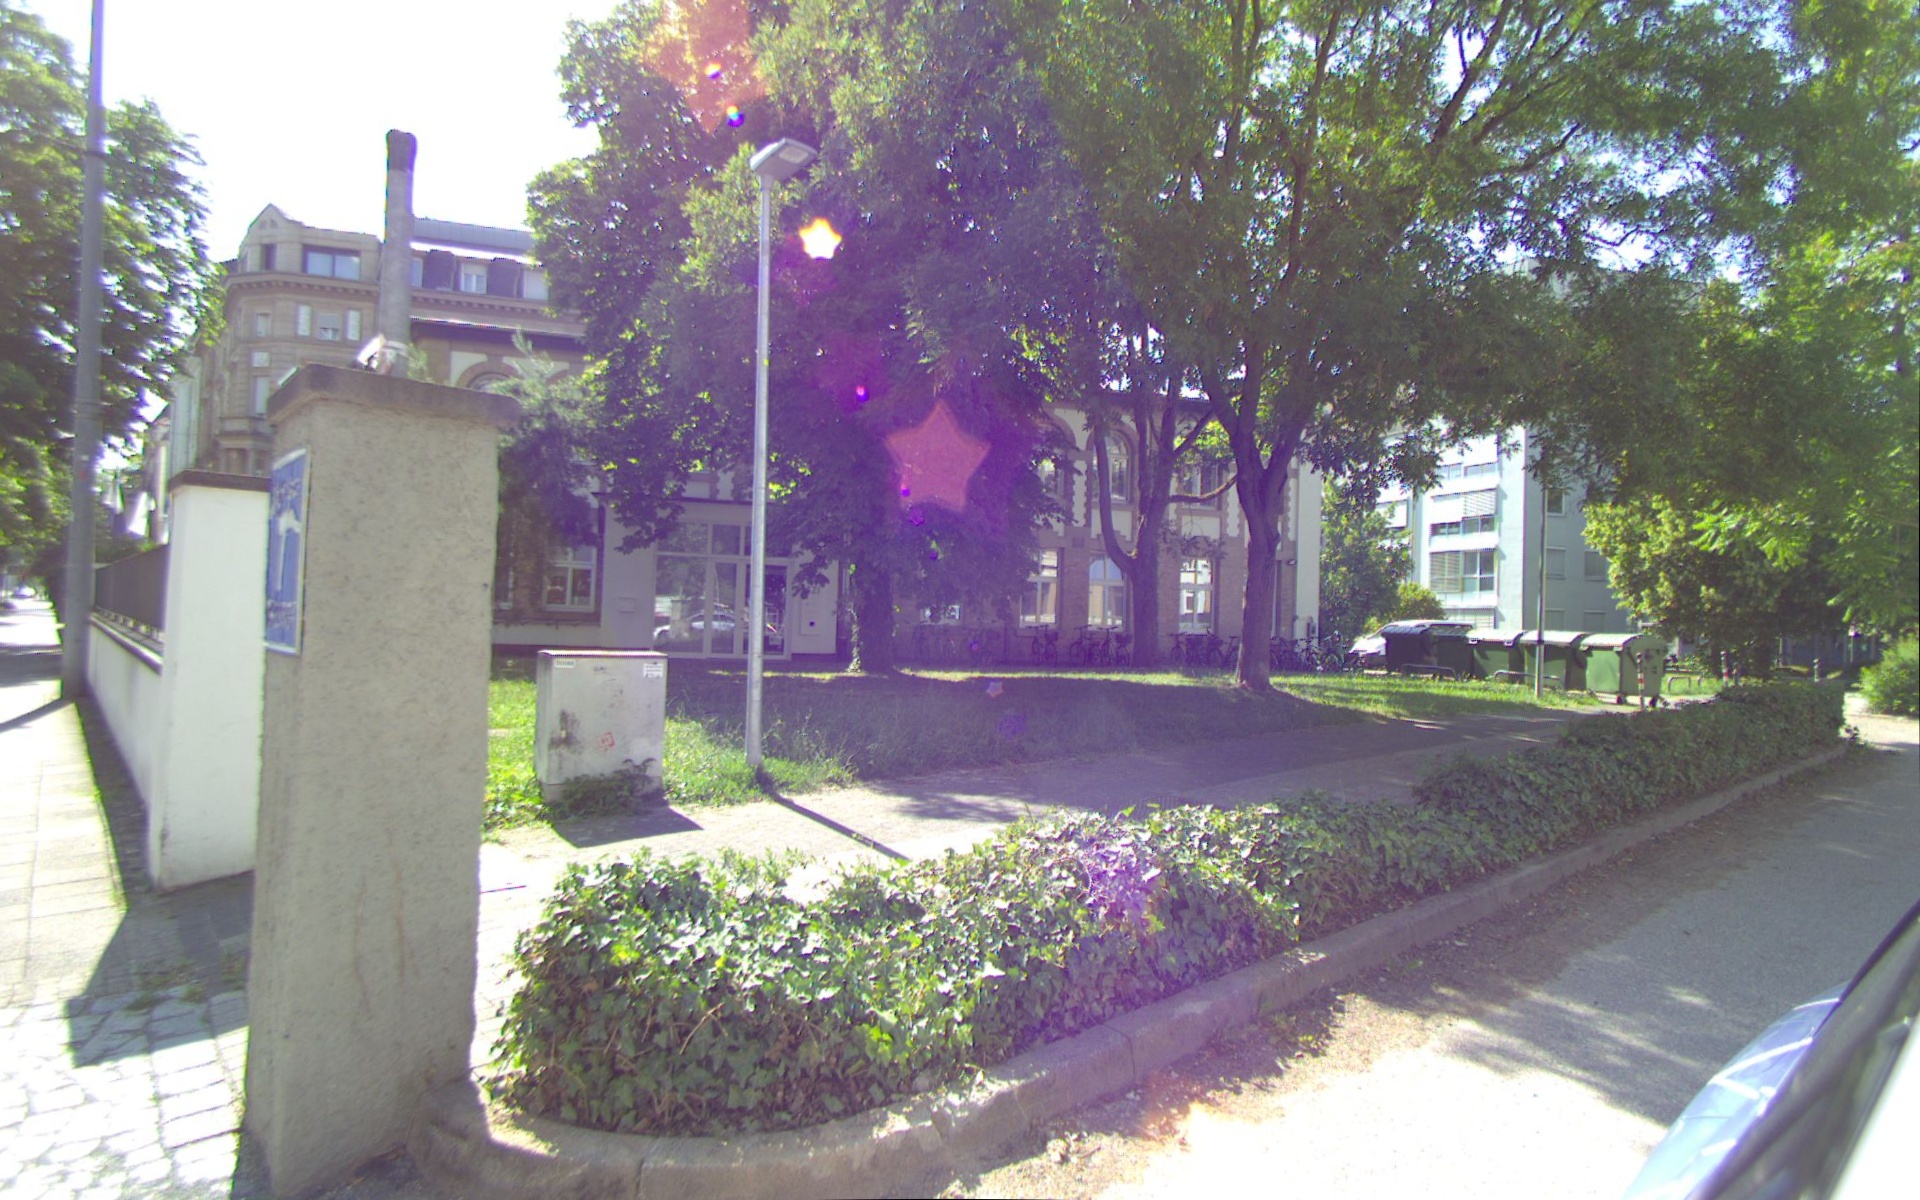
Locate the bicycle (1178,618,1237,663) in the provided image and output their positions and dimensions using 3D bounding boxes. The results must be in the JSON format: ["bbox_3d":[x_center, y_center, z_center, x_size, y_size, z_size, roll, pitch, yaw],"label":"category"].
[{"bbox_3d":[6.852,1.098,28.072,0.575,1.176,2.107,2,-1,-17],"label":"bicycle"}]

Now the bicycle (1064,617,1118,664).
[{"bbox_3d":[3.482,1.071,27.104,0.575,1.176,2.107,2,-1,-17],"label":"bicycle"}]

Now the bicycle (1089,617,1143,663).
[{"bbox_3d":[4.199,1.055,27.359,0.575,1.176,2.107,2,-1,-17],"label":"bicycle"}]

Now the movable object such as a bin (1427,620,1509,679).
[{"bbox_3d":[12.574,1.214,25.066,1.190,1.366,1.355,2,-1,-20],"label":"movable object such as a bin"}]

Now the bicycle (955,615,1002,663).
[{"bbox_3d":[0.459,0.983,26.317,0.575,1.176,2.107,2,-1,-17],"label":"bicycle"}]

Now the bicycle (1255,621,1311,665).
[{"bbox_3d":[9.130,1.203,28.700,0.484,1.176,1.918,2,-1,-17],"label":"bicycle"}]

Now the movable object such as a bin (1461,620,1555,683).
[{"bbox_3d":[12.716,1.173,23.526,1.190,1.379,1.505,2,-1,-20],"label":"movable object such as a bin"}]

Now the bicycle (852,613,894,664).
[{"bbox_3d":[-2.162,0.927,25.002,0.575,1.176,2.107,2,-1,-17],"label":"bicycle"}]

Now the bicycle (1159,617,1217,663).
[{"bbox_3d":[6.240,1.071,27.828,0.575,1.176,2.107,2,-1,-17],"label":"bicycle"}]

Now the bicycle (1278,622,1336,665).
[{"bbox_3d":[9.922,1.227,28.994,0.600,1.176,1.855,2,-1,-17],"label":"bicycle"}]

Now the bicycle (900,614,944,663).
[{"bbox_3d":[-0.980,0.964,25.818,0.575,1.176,2.107,2,-1,-17],"label":"bicycle"}]

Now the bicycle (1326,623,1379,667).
[{"bbox_3d":[11.200,1.260,28.960,0.546,1.176,1.947,2,-1,-7],"label":"bicycle"}]

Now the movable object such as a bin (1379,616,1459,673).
[{"bbox_3d":[12.019,1.148,26.543,1.224,1.427,1.439,2,-1,-21],"label":"movable object such as a bin"}]

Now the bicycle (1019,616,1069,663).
[{"bbox_3d":[2.195,1.023,26.755,0.575,1.176,2.107,2,-1,-17],"label":"bicycle"}]

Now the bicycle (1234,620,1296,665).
[{"bbox_3d":[8.587,1.177,28.558,0.575,1.176,2.107,2,-1,-17],"label":"bicycle"}]

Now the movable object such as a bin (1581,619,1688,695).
[{"bbox_3d":[13.764,1.143,20.708,1.191,1.481,1.393,1,-1,-5],"label":"movable object such as a bin"}]

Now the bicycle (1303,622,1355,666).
[{"bbox_3d":[10.574,1.236,29.029,0.496,1.176,1.808,2,-1,-12],"label":"bicycle"}]

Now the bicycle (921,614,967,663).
[{"bbox_3d":[-0.433,0.969,26.114,0.575,1.176,2.107,2,-1,-17],"label":"bicycle"}]

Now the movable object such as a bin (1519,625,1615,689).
[{"bbox_3d":[13.244,1.238,22.113,1.190,1.317,1.358,2,-1,-20],"label":"movable object such as a bin"}]

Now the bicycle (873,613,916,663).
[{"bbox_3d":[-1.675,0.934,25.612,0.575,1.176,2.107,2,-1,-17],"label":"bicycle"}]

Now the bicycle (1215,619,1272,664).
[{"bbox_3d":[7.907,1.134,28.278,0.575,1.176,1.925,2,-1,-17],"label":"bicycle"}]
